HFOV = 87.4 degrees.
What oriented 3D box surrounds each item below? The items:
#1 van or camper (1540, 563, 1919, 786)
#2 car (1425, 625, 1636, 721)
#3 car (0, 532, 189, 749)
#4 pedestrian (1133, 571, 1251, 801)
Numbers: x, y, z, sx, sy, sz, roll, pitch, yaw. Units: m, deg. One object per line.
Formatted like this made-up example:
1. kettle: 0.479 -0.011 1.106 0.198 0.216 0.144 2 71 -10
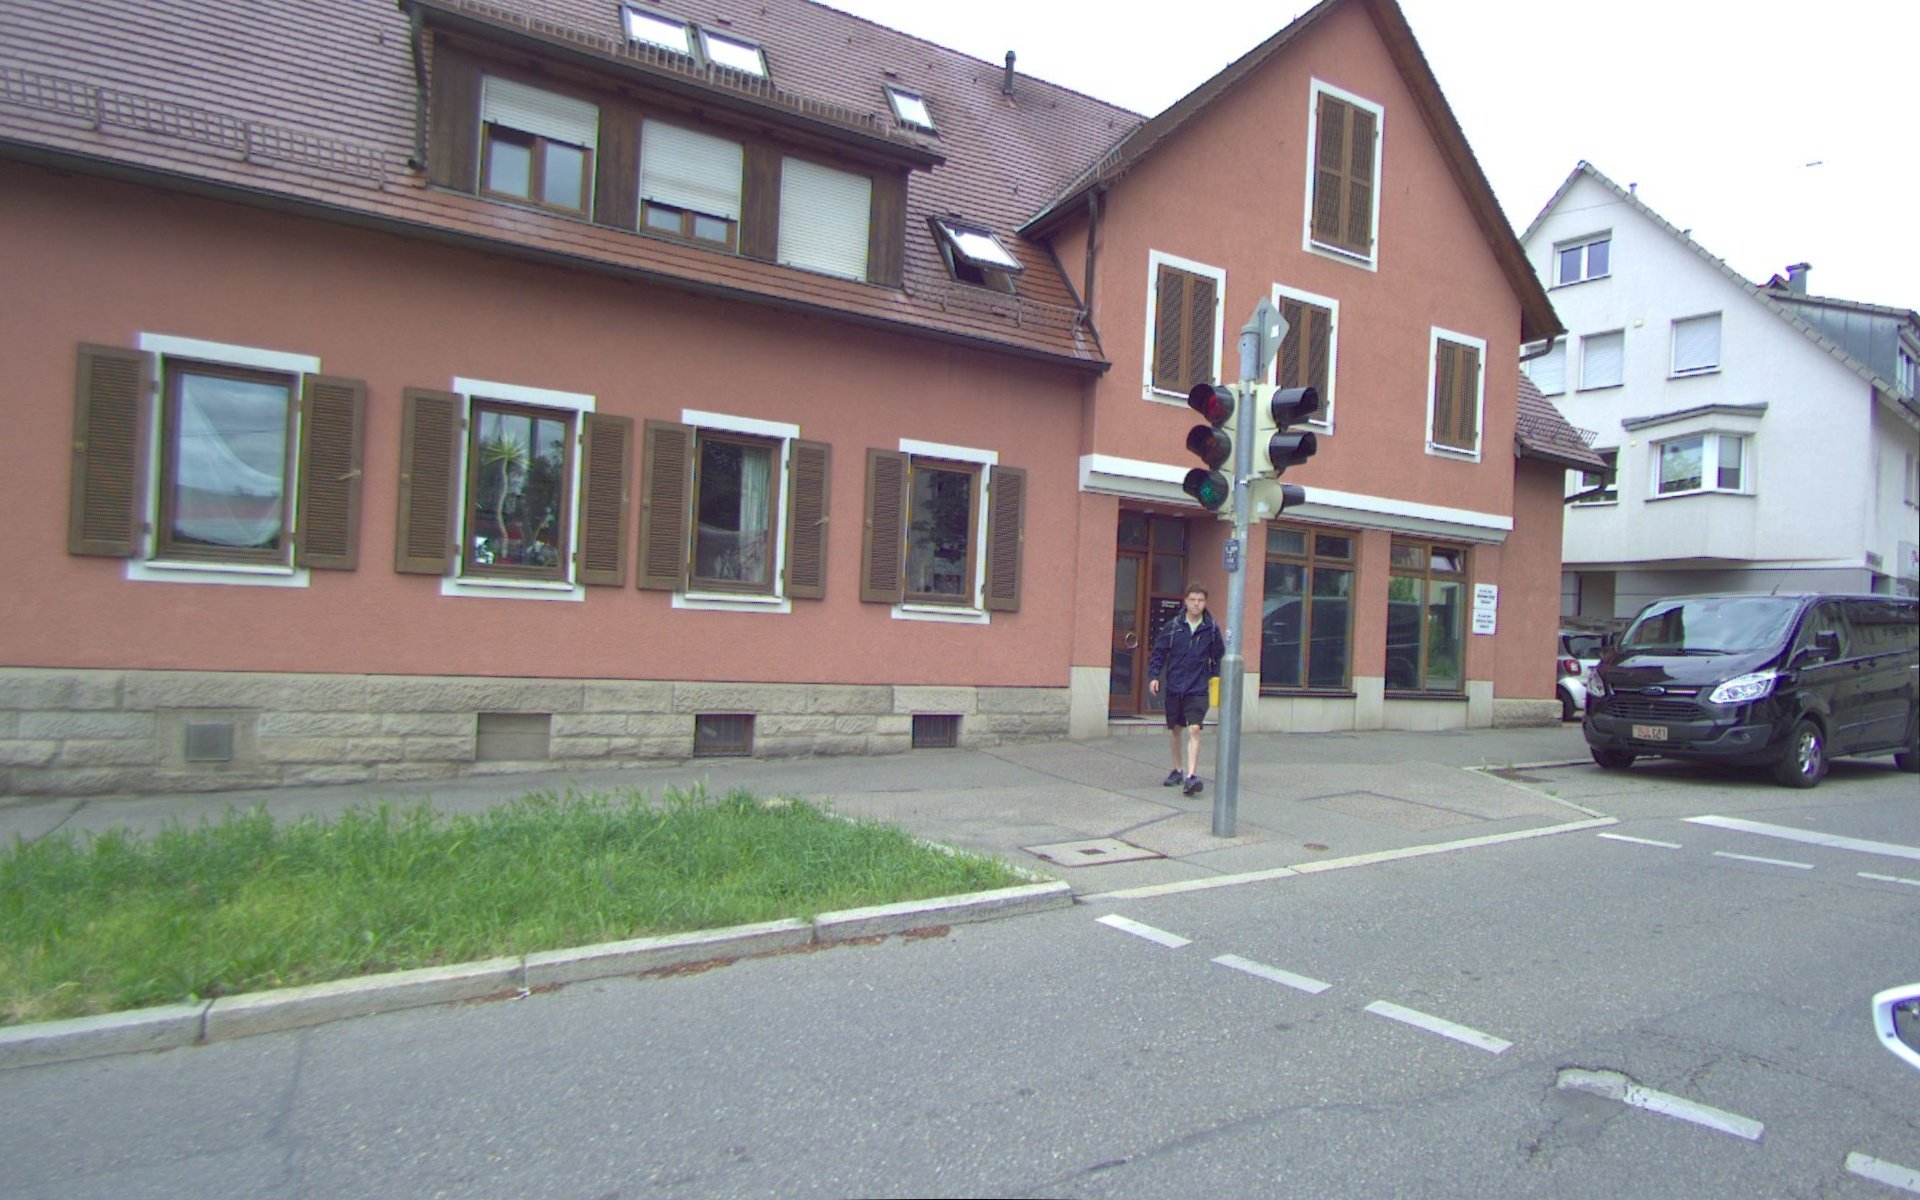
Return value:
1. van or camper: 8.938 0.834 11.306 4.801 2.032 2.064 4 -3 -30
2. car: 10.182 1.259 18.100 1.720 1.494 2.820 2 -1 -26
3. car: -13.872 0.406 15.049 2.236 2.812 4.928 1 2 -20
4. pedestrian: 1.927 0.681 8.462 0.787 1.808 0.893 1 1 4
